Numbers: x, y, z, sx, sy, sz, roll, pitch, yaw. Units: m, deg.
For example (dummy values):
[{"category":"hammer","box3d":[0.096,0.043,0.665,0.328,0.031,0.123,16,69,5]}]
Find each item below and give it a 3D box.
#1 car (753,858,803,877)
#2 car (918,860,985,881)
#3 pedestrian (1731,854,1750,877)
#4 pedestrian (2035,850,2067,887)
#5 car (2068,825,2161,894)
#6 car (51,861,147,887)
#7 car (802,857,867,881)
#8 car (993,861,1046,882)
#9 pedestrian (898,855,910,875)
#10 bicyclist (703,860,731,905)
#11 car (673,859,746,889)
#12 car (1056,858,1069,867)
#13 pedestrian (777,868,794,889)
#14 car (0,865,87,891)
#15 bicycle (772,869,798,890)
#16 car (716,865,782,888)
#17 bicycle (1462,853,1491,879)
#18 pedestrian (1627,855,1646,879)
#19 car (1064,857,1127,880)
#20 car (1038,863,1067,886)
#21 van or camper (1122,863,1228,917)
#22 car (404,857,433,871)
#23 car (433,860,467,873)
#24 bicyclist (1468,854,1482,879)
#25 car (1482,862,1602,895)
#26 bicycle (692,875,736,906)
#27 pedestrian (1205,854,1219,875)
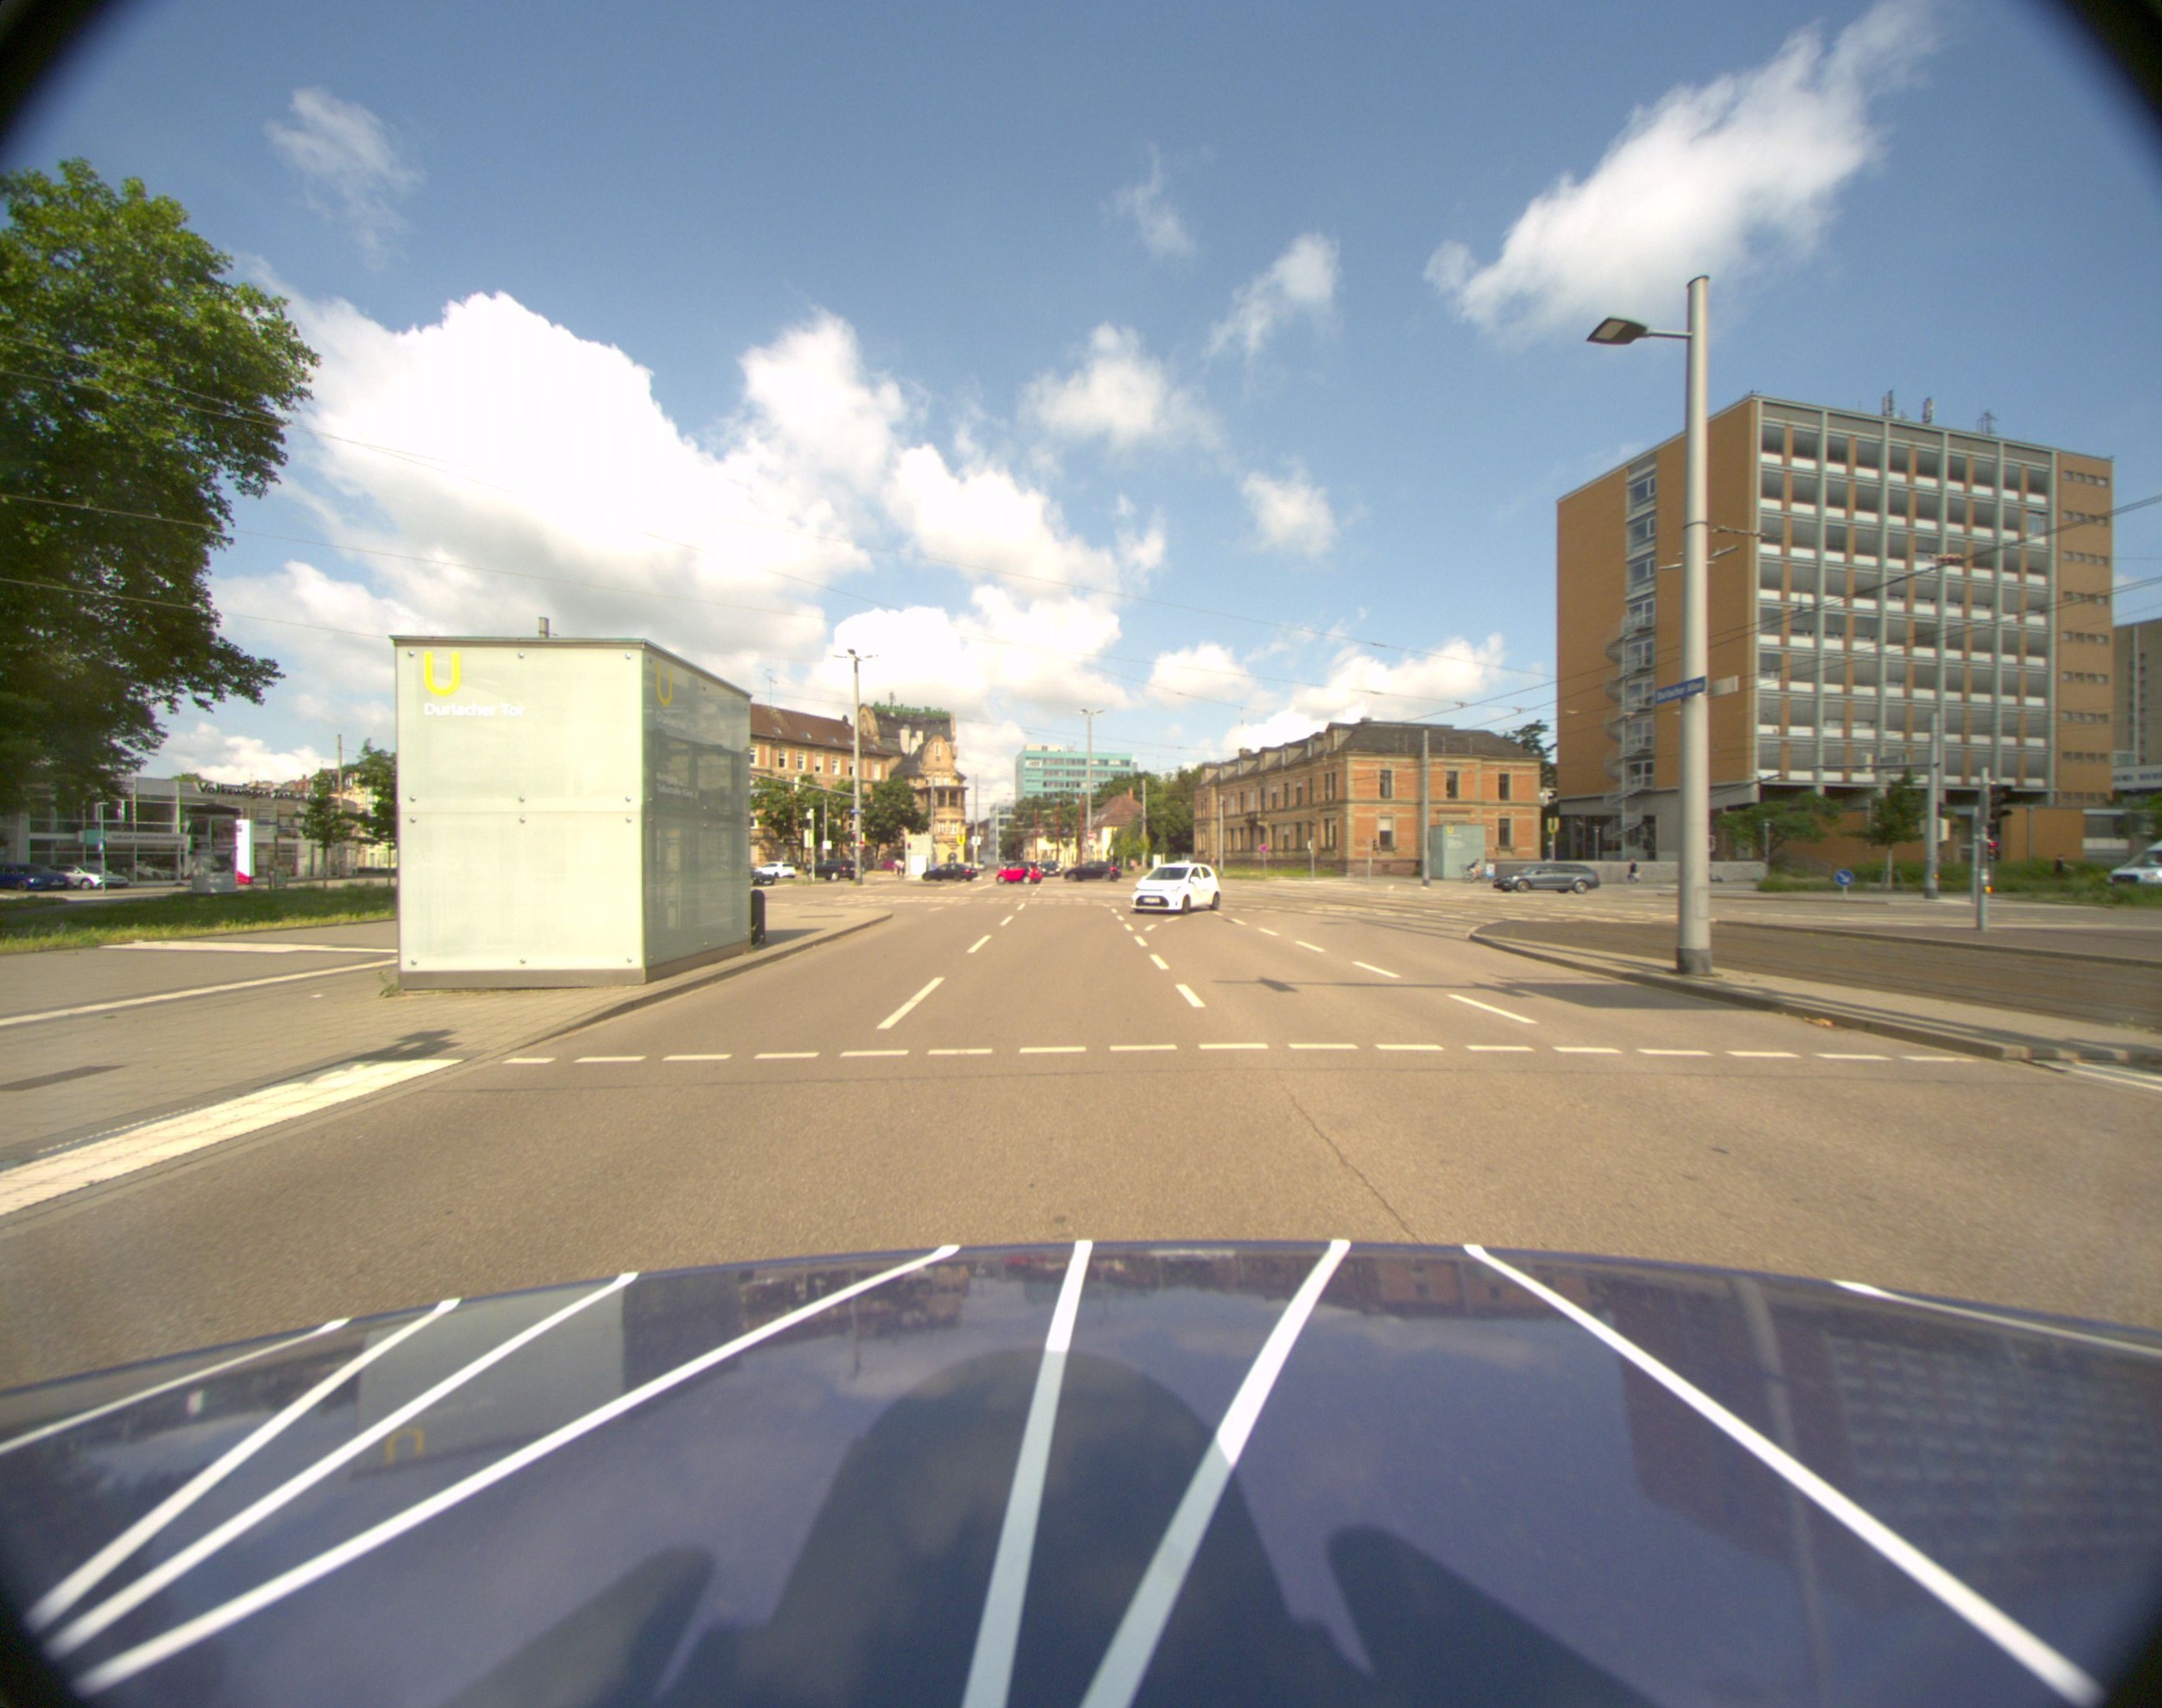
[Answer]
[{"category":"car","box3d":[-26.405,1.185,66.260,4.221,1.438,1.687,-2,2,29]},{"category":"car","box3d":[-9.699,1.238,56.988,4.499,1.390,2.002,0,3,18]},{"category":"pedestrian","box3d":[46.070,0.807,53.076,0.766,1.579,0.936,-1,1,-44]},{"category":"pedestrian","box3d":[54.919,0.826,43.029,0.805,2.005,0.725,1,9,34]},{"category":"car","box3d":[46.675,0.220,31.953,6.138,2.862,2.489,0,0,12]},{"category":"car","box3d":[-60.268,1.210,46.651,3.994,1.543,1.927,0,0,10]},{"category":"car","box3d":[-18.994,1.113,58.482,4.671,1.659,2.003,1,3,27]},{"category":"car","box3d":[-4.022,1.135,50.060,3.003,1.208,1.612,-2,3,23]},{"category":"pedestrian","box3d":[-15.206,0.946,65.273,0.707,1.632,0.798,0,1,28]},{"category":"bicyclist","box3d":[-14.465,1.113,30.189,0.711,1.735,0.828,0,2,-1]},{"category":"car","box3d":[-21.445,1.139,43.835,3.989,1.505,1.829,0,5,32]},{"category":"car","box3d":[-3.404,1.571,141.067,1.757,1.522,3.994,-1,3,-11]},{"category":"pedestrian","box3d":[-26.984,2.252,69.414,0.993,1.832,0.997,1,6,39]},{"category":"car","box3d":[-59.347,1.350,43.150,3.993,1.436,1.927,0,0,11]},{"category":"bicycle","box3d":[-27.052,2.313,69.506,2.461,1.716,1.010,1,6,40]},{"category":"car","box3d":[-20.168,1.318,46.106,3.989,1.155,1.629,0,5,32]},{"category":"bicycle","box3d":[26.933,0.807,51.778,0.733,1.767,1.633,-1,1,-38]},{"category":"pedestrian","box3d":[36.073,0.828,49.366,0.763,1.579,0.774,0,1,16]},{"category":"car","box3d":[0.988,1.017,52.784,3.990,1.446,1.716,-1,3,22]},{"category":"car","box3d":[-2.750,1.912,72.392,2.000,1.730,4.334,-3,4,-10]},{"category":"van or camper","box3d":[2.971,1.019,23.235,1.624,1.467,4.008,0,0,33]},{"category":"car","box3d":[-83.579,1.287,95.863,3.988,1.696,1.790,0,0,34]},{"category":"car","box3d":[-70.142,1.352,84.441,3.988,1.324,2.004,0,0,37]},{"category":"bicyclist","box3d":[26.894,0.856,51.829,0.575,1.661,0.654,-1,1,-37]},{"category":"car","box3d":[22.331,1.163,36.972,4.538,1.274,2.000,-2,4,7]},{"category":"bicycle","box3d":[-14.504,1.424,30.109,0.789,1.121,1.992,0,0,0]},{"category":"pedestrian","box3d":[10.698,0.865,61.984,0.785,1.726,0.858,0,0,-21]}]
